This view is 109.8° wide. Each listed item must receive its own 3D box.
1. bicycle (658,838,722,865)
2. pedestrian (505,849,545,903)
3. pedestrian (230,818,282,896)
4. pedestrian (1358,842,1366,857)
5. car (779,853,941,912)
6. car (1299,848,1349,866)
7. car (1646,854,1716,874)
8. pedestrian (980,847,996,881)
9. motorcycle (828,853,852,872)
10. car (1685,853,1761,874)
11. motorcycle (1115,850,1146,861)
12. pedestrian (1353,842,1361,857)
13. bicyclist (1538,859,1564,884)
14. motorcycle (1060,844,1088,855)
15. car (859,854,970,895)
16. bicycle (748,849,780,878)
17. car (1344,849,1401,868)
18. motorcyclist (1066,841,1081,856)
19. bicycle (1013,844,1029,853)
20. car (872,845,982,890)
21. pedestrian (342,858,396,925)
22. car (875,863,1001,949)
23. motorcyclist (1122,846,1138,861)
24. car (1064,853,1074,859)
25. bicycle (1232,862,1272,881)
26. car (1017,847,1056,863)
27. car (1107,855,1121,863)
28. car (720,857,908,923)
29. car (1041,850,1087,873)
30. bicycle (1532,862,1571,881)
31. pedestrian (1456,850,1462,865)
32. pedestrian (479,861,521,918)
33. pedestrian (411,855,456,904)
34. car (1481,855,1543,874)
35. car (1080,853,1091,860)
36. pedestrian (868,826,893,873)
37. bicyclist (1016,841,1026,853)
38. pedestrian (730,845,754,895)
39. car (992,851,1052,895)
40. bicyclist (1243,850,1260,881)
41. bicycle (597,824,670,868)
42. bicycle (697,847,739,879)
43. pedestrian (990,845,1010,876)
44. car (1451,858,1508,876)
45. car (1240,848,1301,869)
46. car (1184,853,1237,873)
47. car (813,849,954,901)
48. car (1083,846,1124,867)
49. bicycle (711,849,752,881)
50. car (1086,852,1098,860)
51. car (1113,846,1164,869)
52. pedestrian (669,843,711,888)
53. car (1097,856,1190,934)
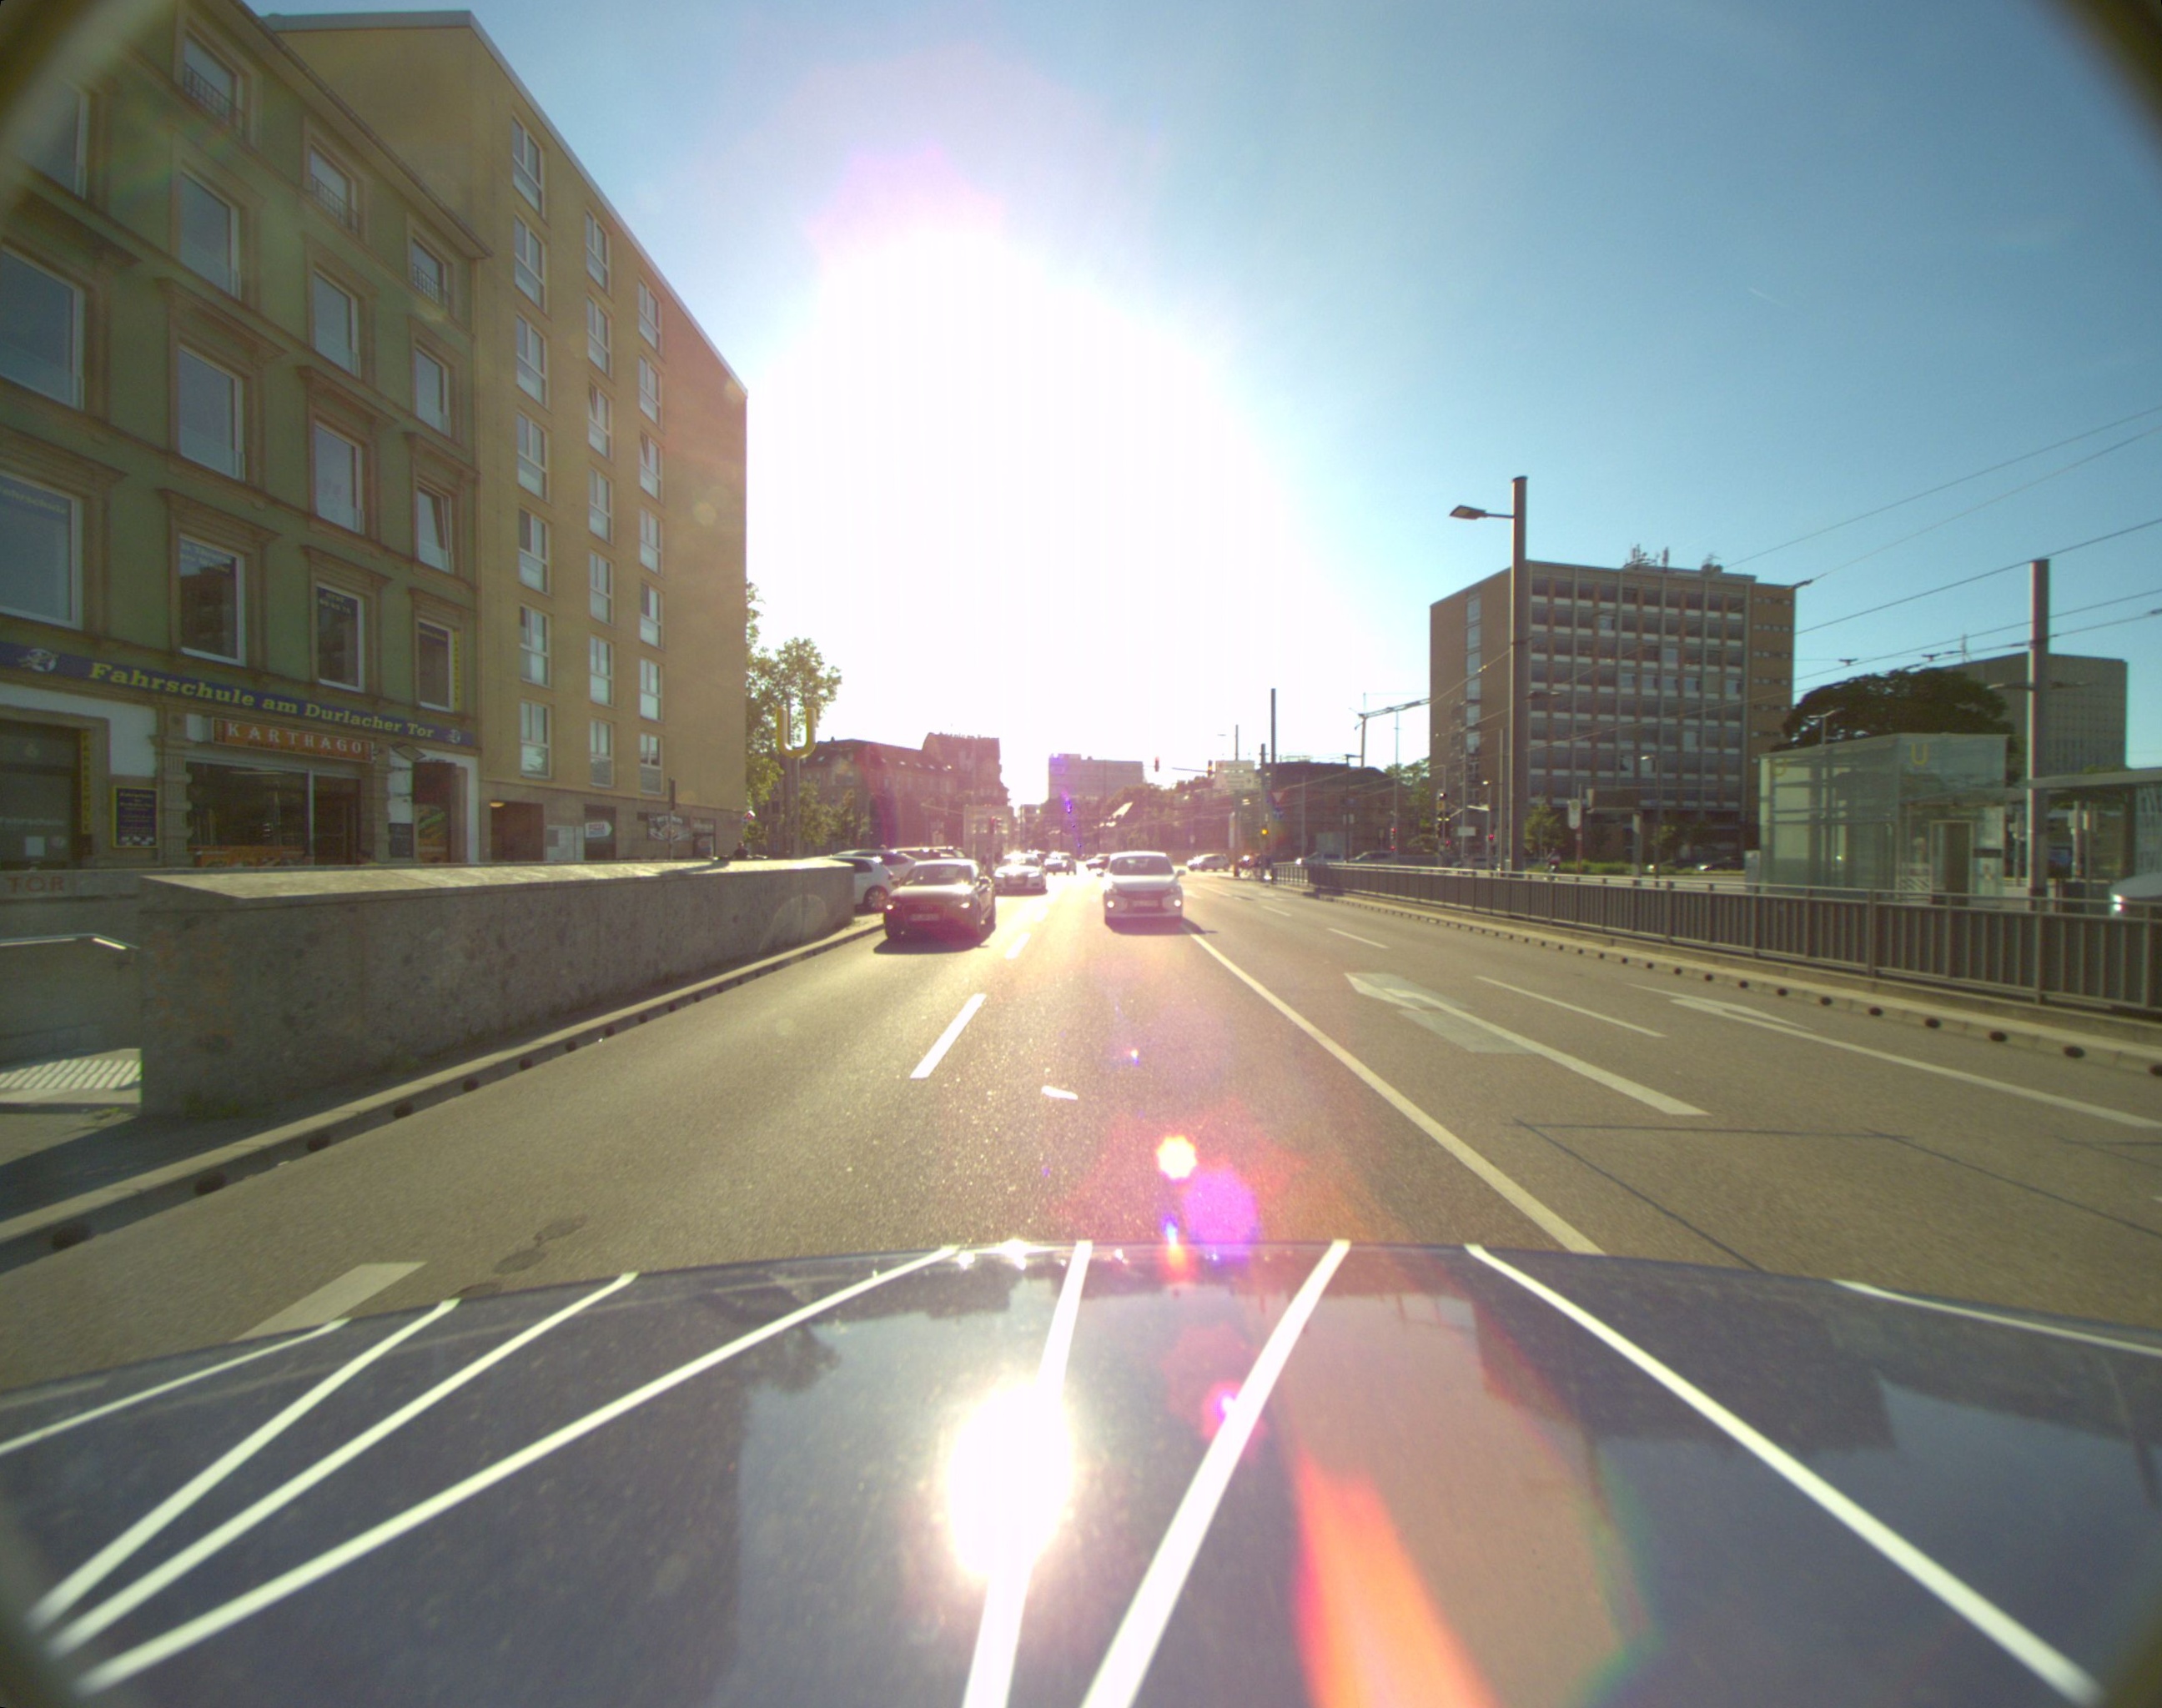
[{"bbox_3d":[-17.787,-0.085,34.636,1.032,1.116,2.535,1,-2,18],"label":"bicycle"},{"bbox_3d":[-13.737,0.539,18.781,0.516,1.311,0.592,0,1,8],"label":"pedestrian"},{"bbox_3d":[-18.407,0.056,16.956,0.516,1.702,0.592,0,1,13],"label":"pedestrian"},{"bbox_3d":[32.092,-0.525,86.659,0.732,1.730,0.622,1,2,11],"label":"pedestrian"},{"bbox_3d":[-6.643,0.793,23.128,4.260,1.561,1.955,-1,1,-43],"label":"car"},{"bbox_3d":[24.628,0.331,76.928,4.696,1.673,2.004,1,-2,19],"label":"car"},{"bbox_3d":[55.434,0.936,70.267,4.697,1.673,2.003,1,-2,16],"label":"car"},{"bbox_3d":[-4.808,0.507,39.316,0.698,1.718,0.752,0,1,-15],"label":"pedestrian"},{"bbox_3d":[-14.771,0.501,46.585,0.880,1.040,1.803,1,2,-2],"label":"motorcycle"},{"bbox_3d":[56.322,0.836,66.732,4.697,1.673,2.003,1,-2,16],"label":"car"},{"bbox_3d":[5.598,0.161,86.114,3.225,1.187,1.120,0,-2,22],"label":"motorcycle"},{"bbox_3d":[31.393,-0.526,86.549,0.620,1.730,0.667,2,3,43],"label":"pedestrian"},{"bbox_3d":[26.539,0.987,42.932,0.815,1.337,0.901,-4,1,-4],"label":"bicyclist"},{"bbox_3d":[-0.853,-0.533,91.158,3.225,1.187,1.120,0,-2,22],"label":"motorcycle"},{"bbox_3d":[-6.528,0.752,30.037,3.900,1.391,1.784,-3,1,-43],"label":"car"},{"bbox_3d":[-14.171,0.400,34.017,0.659,1.241,1.900,1,1,-2],"label":"bicycle"},{"bbox_3d":[26.700,0.389,69.752,4.610,1.679,2.002,0,1,11],"label":"car"},{"bbox_3d":[-0.909,-0.669,91.172,1.451,1.657,1.120,1,-2,22],"label":"motorcyclist"},{"bbox_3d":[-7.709,-0.719,98.184,1.899,1.116,0.649,1,-2,17],"label":"bicycle"},{"bbox_3d":[-6.691,0.530,33.184,4.259,1.803,1.955,-1,1,-40],"label":"car"},{"bbox_3d":[-14.224,0.741,15.186,0.516,1.311,0.591,0,1,-6],"label":"pedestrian"},{"bbox_3d":[-2.669,0.916,15.037,1.694,1.380,3.831,-1,1,1],"label":"car"},{"bbox_3d":[5.581,-0.062,86.118,1.451,1.657,1.120,1,-2,22],"label":"motorcyclist"},{"bbox_3d":[-2.887,0.587,189.415,1.757,1.455,4.015,0,-1,-12],"label":"car"},{"bbox_3d":[9.107,0.907,40.563,1.894,0.936,0.815,1,1,-4],"label":"bicycle"},{"bbox_3d":[-5.185,0.067,88.622,3.991,1.598,2.001,-1,5,20],"label":"car"},{"bbox_3d":[6.314,0.959,146.103,1.757,1.455,4.015,0,-1,-12],"label":"car"},{"bbox_3d":[-6.767,0.832,19.466,4.121,1.455,1.956,0,1,-41],"label":"car"},{"bbox_3d":[-1.114,0.456,51.731,1.780,1.455,3.921,1,1,20],"label":"car"},{"bbox_3d":[26.544,0.987,42.934,0.815,0.936,2.001,-4,1,-4],"label":"bicycle"},{"bbox_3d":[39.653,0.376,79.718,0.503,1.625,0.428,1,-2,8],"label":"pedestrian"},{"bbox_3d":[-13.835,0.839,18.096,0.516,1.311,0.592,0,1,8],"label":"pedestrian"},{"bbox_3d":[-15.362,0.592,18.035,0.516,1.153,0.592,0,1,8],"label":"pedestrian"},{"bbox_3d":[40.535,1.027,71.585,4.697,1.673,2.003,1,-2,16],"label":"car"},{"bbox_3d":[0.947,0.603,170.423,1.757,1.455,4.015,0,-1,-12],"label":"car"},{"bbox_3d":[-8.077,-0.188,30.580,0.755,1.855,0.696,0,1,-41],"label":"pedestrian"},{"bbox_3d":[-7.767,-0.943,98.221,0.973,1.559,0.649,1,-2,17],"label":"bicyclist"},{"bbox_3d":[-12.838,0.577,28.737,0.754,1.855,0.830,0,1,-29],"label":"pedestrian"},{"bbox_3d":[-2.178,0.669,29.257,1.825,1.380,4.456,-2,2,1],"label":"car"},{"bbox_3d":[9.090,0.626,40.544,0.676,1.607,0.815,1,1,-4],"label":"bicyclist"},{"bbox_3d":[-14.773,-0.231,25.156,0.932,1.348,2.230,1,-2,4],"label":"bicycle"},{"bbox_3d":[-15.026,0.351,31.480,0.659,1.241,2.298,1,1,-1],"label":"bicycle"},{"bbox_3d":[-4.563,0.373,42.680,0.796,1.718,0.868,0,1,-31],"label":"pedestrian"},{"bbox_3d":[39.272,1.279,75.031,4.697,1.673,2.003,1,-2,16],"label":"car"},{"bbox_3d":[18.805,0.445,75.376,5.755,2.001,2.003,1,-2,15],"label":"car"},{"bbox_3d":[11.202,0.738,65.678,4.290,1.666,1.995,0,1,-30],"label":"car"},{"bbox_3d":[-6.772,0.665,26.308,4.260,1.588,1.955,-1,1,-42],"label":"car"},{"bbox_3d":[1.961,0.237,64.444,1.995,1.673,4.009,0,-2,25],"label":"car"},{"bbox_3d":[-14.275,0.441,31.101,0.659,1.241,2.298,1,1,-1],"label":"bicycle"},{"bbox_3d":[2.271,0.429,164.693,1.757,1.455,4.015,0,-1,-12],"label":"car"},{"bbox_3d":[4.429,0.262,57.507,1.994,1.666,4.292,1,1,34],"label":"car"},{"bbox_3d":[-17.795,0.534,34.611,1.032,2.001,1.272,1,-2,18],"label":"pedestrian"},{"bbox_3d":[1.273,0.810,16.885,1.720,1.484,3.870,-1,0,0],"label":"car"}]
